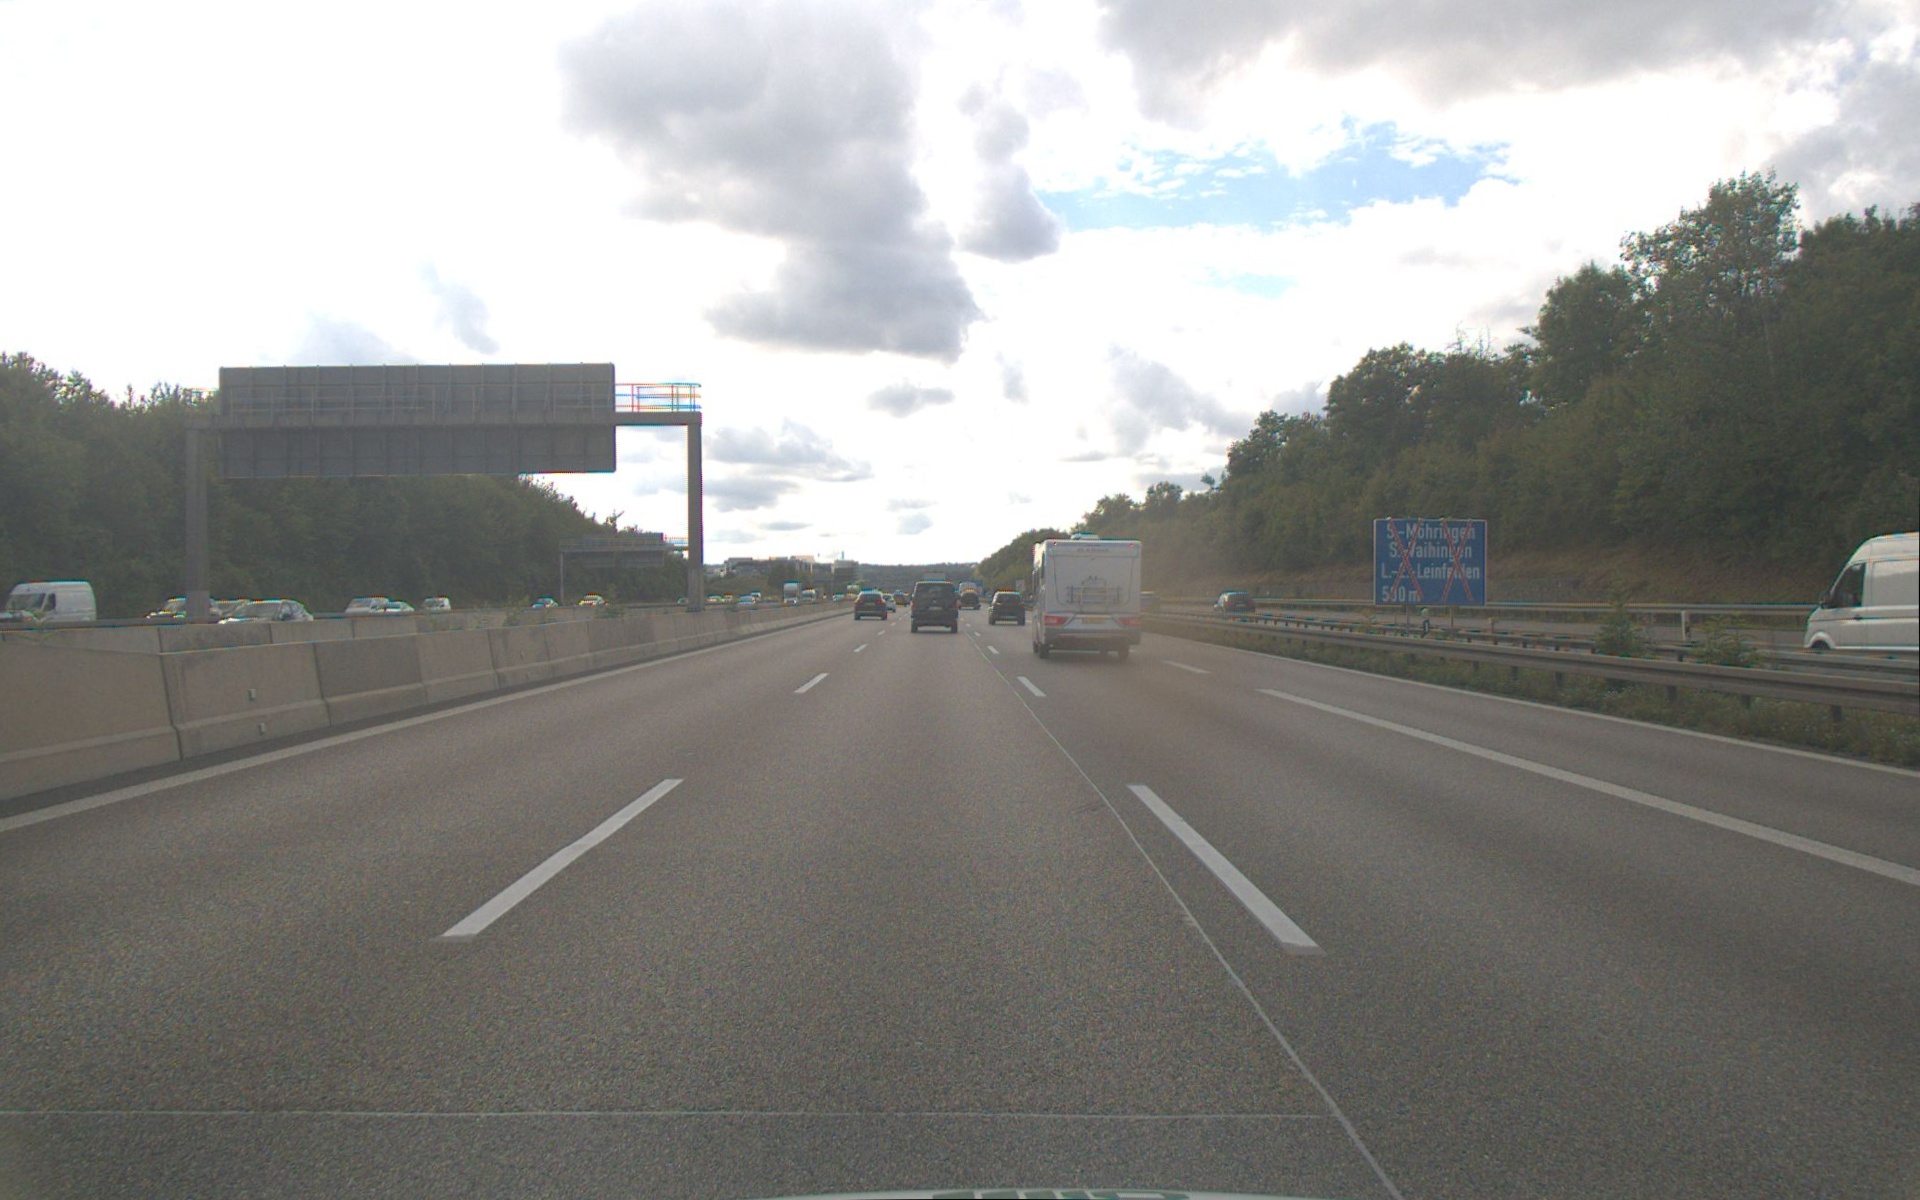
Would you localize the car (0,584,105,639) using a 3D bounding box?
[{"bbox_3d":[-41.279,0.482,75.043,1.952,2.355,5.685,-1,0,1],"label":"car"}]

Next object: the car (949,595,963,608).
[{"bbox_3d":[-0.538,0.152,217.188,1.716,1.725,4.189,0,0,-1],"label":"car"}]

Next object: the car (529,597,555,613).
[{"bbox_3d":[-38.762,0.480,153.373,1.472,1.452,4.107,-1,0,-2],"label":"car"}]

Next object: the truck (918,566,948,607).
[{"bbox_3d":[-3.087,-1.522,186.084,3.197,4.451,11.023,1,0,-1],"label":"truck"}]

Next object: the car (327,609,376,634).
[{"bbox_3d":[-42.246,1.484,114.945,1.700,1.662,4.945,-1,0,-2],"label":"car"}]

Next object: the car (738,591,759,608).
[{"bbox_3d":[-23.017,-0.067,180.242,1.797,1.817,5.501,-1,0,-2],"label":"car"}]

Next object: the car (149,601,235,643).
[{"bbox_3d":[-34.294,0.971,73.973,1.814,1.759,4.425,-1,0,-1],"label":"car"}]

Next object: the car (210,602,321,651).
[{"bbox_3d":[-20.623,0.759,49.285,1.609,1.338,4.246,-1,0,-2],"label":"car"}]

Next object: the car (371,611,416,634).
[{"bbox_3d":[-38.272,1.511,111.861,1.624,1.469,4.322,-1,0,-2],"label":"car"}]

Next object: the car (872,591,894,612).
[{"bbox_3d":[-6.007,0.137,129.388,1.663,1.639,4.112,0,0,-2],"label":"car"}]

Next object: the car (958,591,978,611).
[{"bbox_3d":[0.808,0.085,164.012,1.874,1.952,4.029,0,0,-1],"label":"car"}]

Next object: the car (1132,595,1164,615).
[{"bbox_3d":[14.739,0.367,129.792,1.806,1.510,4.523,-2,0,-2],"label":"car"}]

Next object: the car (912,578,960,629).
[{"bbox_3d":[-0.970,0.130,65.800,1.817,1.944,4.259,0,0,-1],"label":"car"}]

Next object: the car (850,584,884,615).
[{"bbox_3d":[-5.294,-0.013,94.628,1.835,1.728,4.071,0,0,-1],"label":"car"}]

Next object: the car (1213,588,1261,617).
[{"bbox_3d":[15.423,0.110,92.203,1.806,1.510,4.525,-2,0,-1],"label":"car"}]

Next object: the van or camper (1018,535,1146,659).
[{"bbox_3d":[2.893,-0.071,41.209,2.419,2.769,7.659,1,0,-1],"label":"van or camper"}]

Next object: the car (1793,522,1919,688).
[{"bbox_3d":[16.048,0.055,26.360,2.028,2.599,6.741,-1,0,-1],"label":"car"}]

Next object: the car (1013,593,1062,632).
[{"bbox_3d":[3.111,0.482,66.840,1.686,1.505,4.390,0,0,-1],"label":"car"}]

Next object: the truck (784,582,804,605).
[{"bbox_3d":[-23.923,-0.926,238.698,2.306,3.321,7.823,0,0,-2],"label":"truck"}]

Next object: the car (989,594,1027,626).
[{"bbox_3d":[2.432,0.482,84.218,1.663,1.592,4.112,0,0,-2],"label":"car"}]

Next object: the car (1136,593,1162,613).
[{"bbox_3d":[14.769,0.206,129.443,1.509,1.510,3.941,-2,0,-1],"label":"car"}]
